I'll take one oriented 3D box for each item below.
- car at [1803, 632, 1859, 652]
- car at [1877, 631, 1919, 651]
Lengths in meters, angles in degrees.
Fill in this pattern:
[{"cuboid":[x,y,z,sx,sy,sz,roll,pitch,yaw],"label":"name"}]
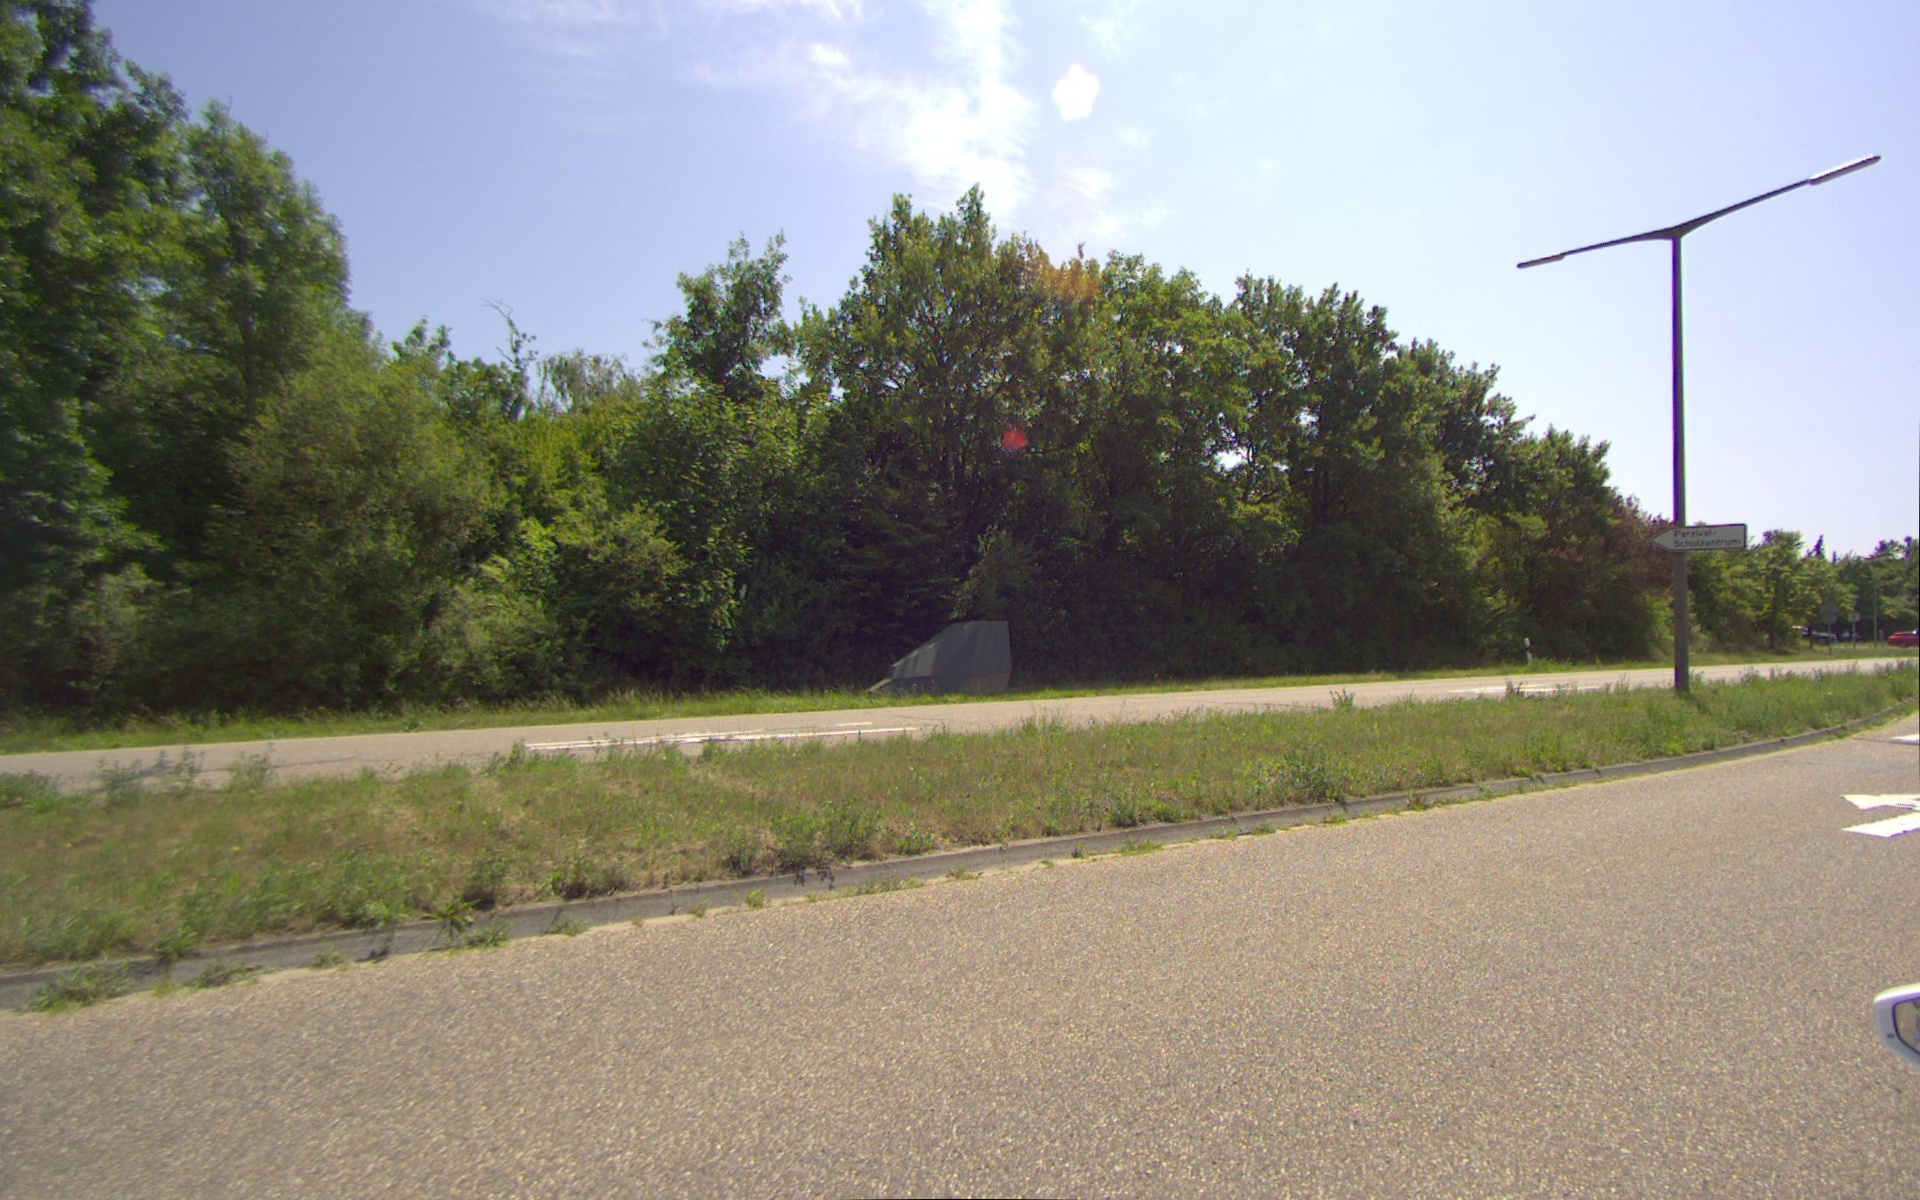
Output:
[{"cuboid":[84.085,4.033,97.016,1.987,1.855,3.946,2,-1,-45],"label":"car"},{"cuboid":[83.052,3.602,87.465,1.962,1.663,4.485,1,-1,-40],"label":"car"}]
